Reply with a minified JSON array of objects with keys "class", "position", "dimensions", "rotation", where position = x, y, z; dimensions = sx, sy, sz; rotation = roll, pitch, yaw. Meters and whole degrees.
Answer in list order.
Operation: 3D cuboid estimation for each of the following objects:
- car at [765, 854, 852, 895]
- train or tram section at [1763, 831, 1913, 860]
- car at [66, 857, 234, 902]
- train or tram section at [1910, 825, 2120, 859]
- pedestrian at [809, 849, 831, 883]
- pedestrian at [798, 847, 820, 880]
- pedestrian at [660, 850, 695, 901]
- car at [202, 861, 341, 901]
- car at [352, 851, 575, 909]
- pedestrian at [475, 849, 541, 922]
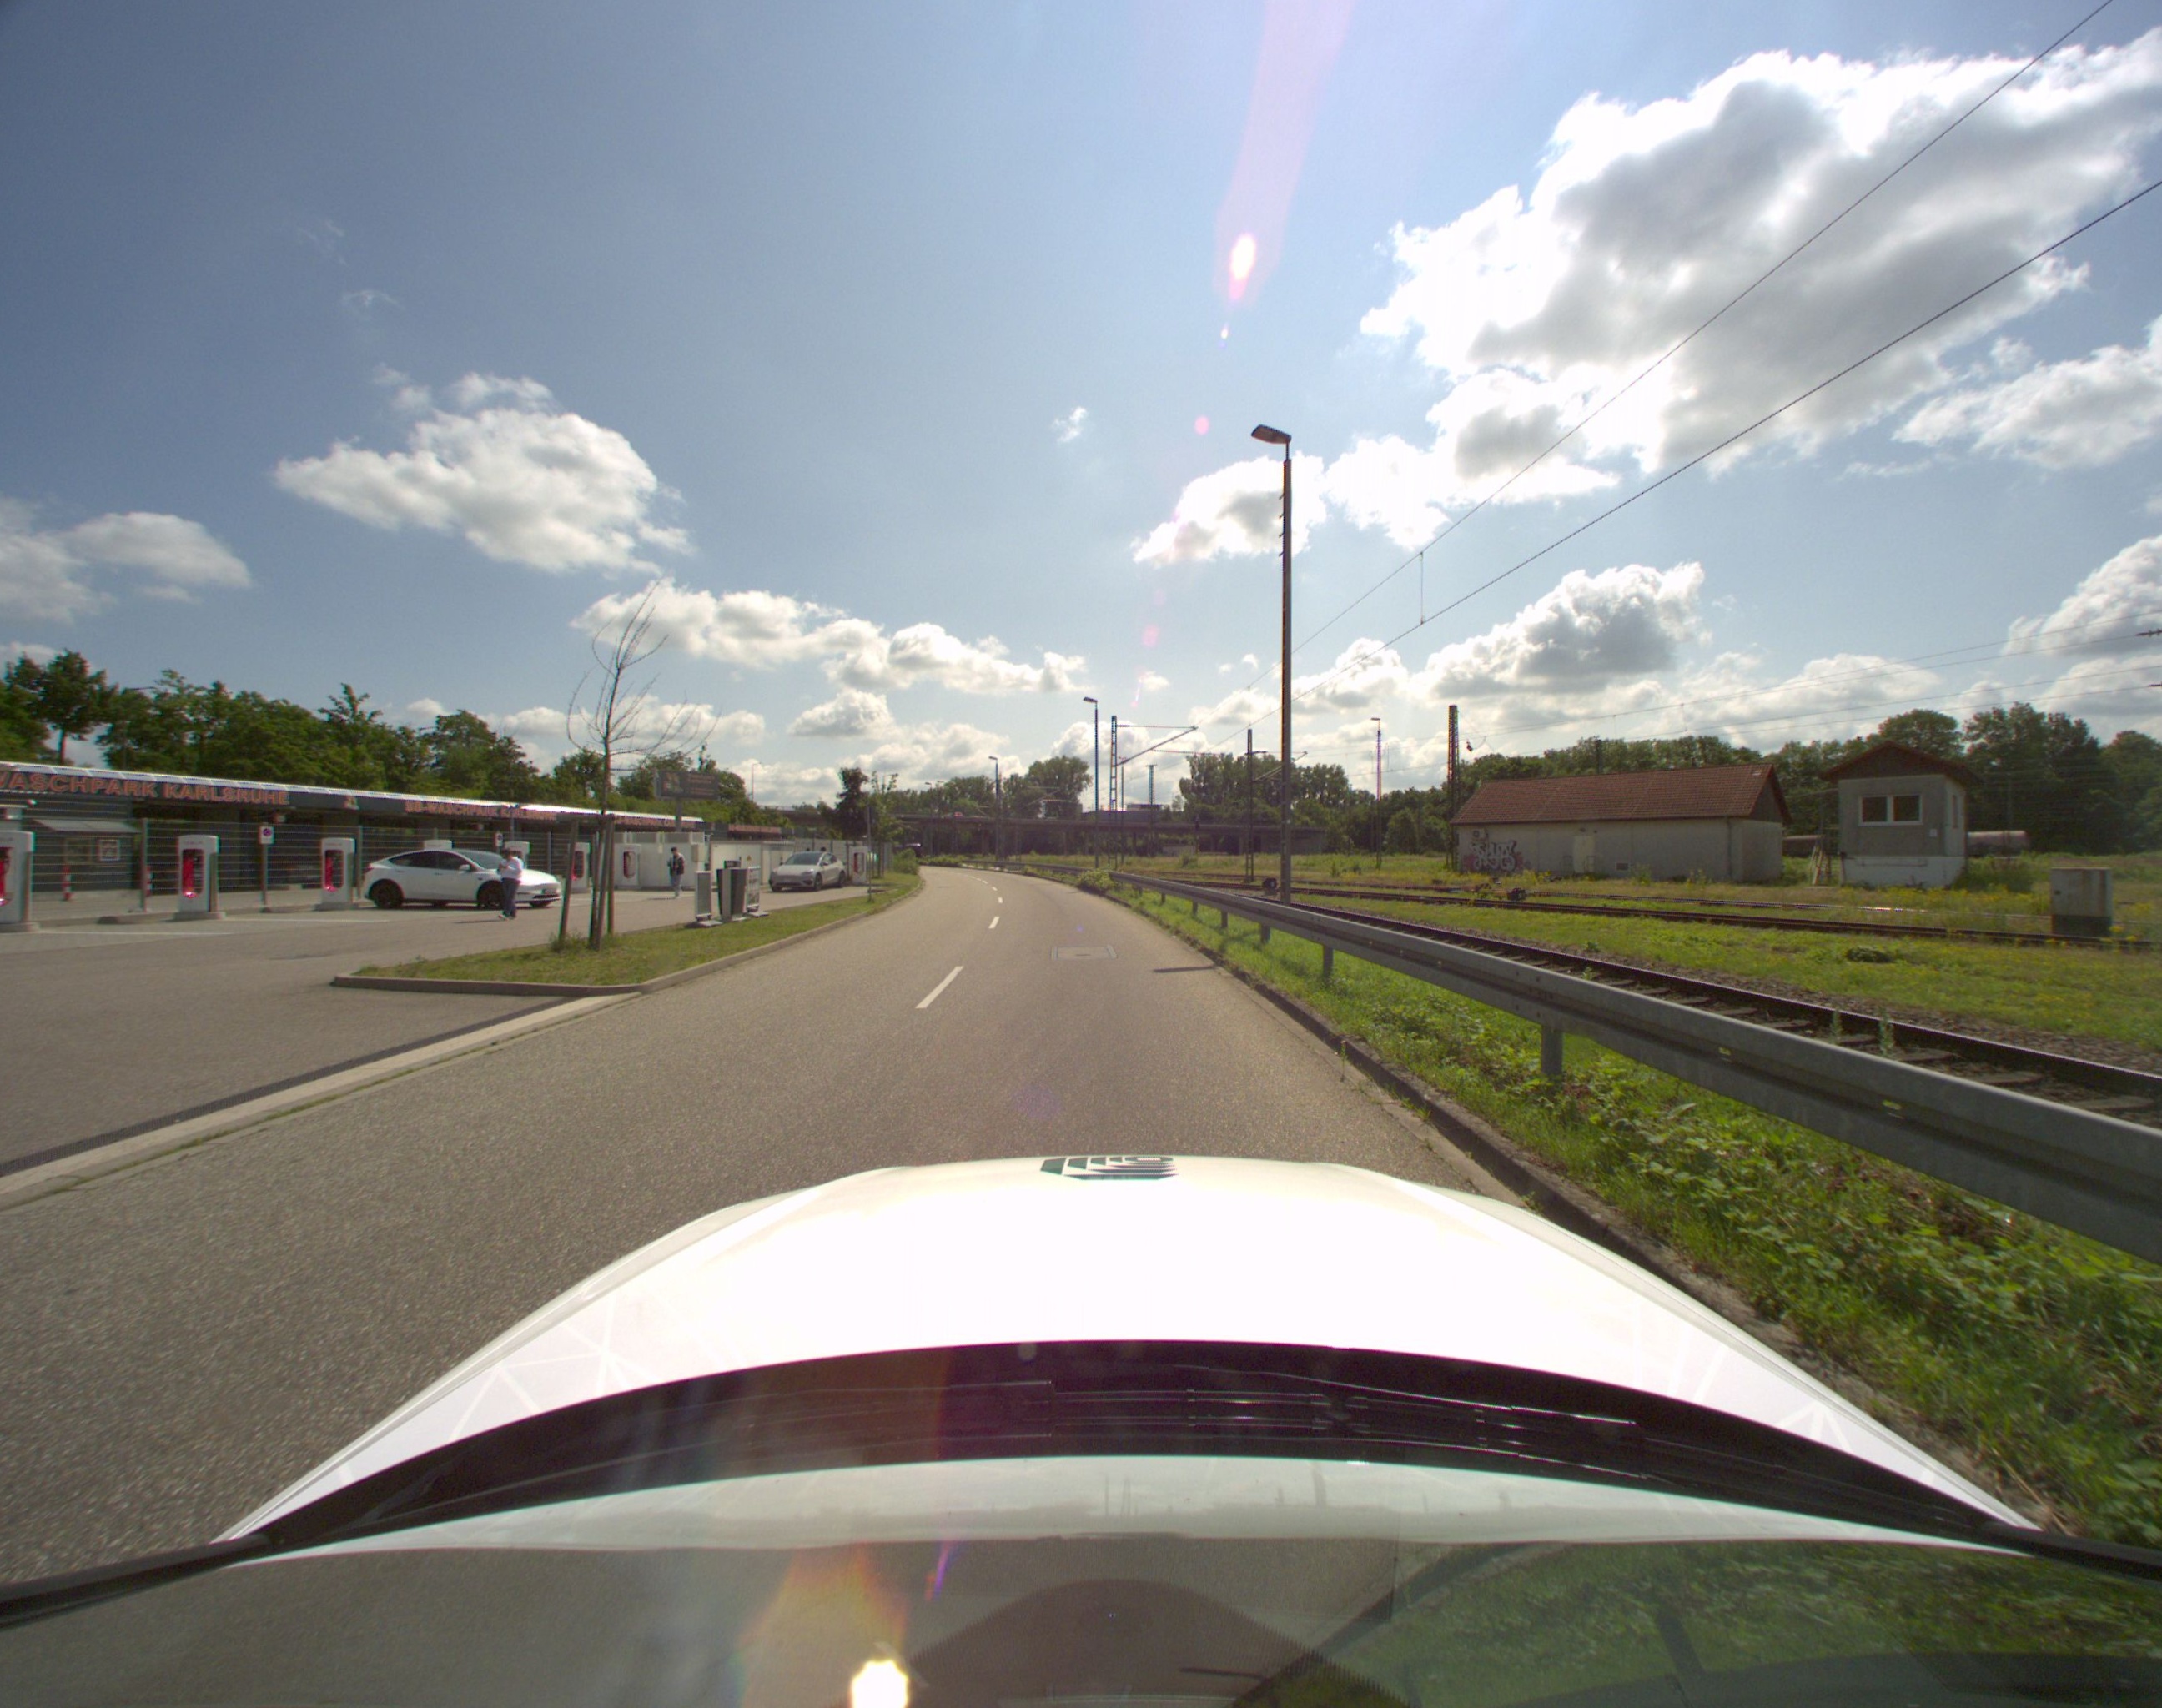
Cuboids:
[{"class":"car","position":[-11.603,0.813,35.032],"dimensions":[1.923,1.517,4.779],"rotation":[0,1,2]},{"class":"train or tram section","position":[96.667,-0.958,104.391],"dimensions":[3.049,3.305,13.777],"rotation":[0,-1,-39]},{"class":"car","position":[-34.371,0.923,30.148],"dimensions":[3.972,1.562,2.001],"rotation":[-1,-1,1]},{"class":"train or tram section","position":[105.892,-1.225,92.968],"dimensions":[3.049,3.305,15.576],"rotation":[0,-1,-39]},{"class":"pedestrian","position":[-12.380,0.569,38.661],"dimensions":[0.704,1.579,0.726],"rotation":[-2,-1,42]},{"class":"pedestrian","position":[-13.059,0.477,39.139],"dimensions":[0.749,1.565,0.718],"rotation":[-2,-1,42]},{"class":"pedestrian","position":[-14.005,0.731,28.286],"dimensions":[0.861,1.751,0.726],"rotation":[0,-1,-6]},{"class":"car","position":[-34.523,1.133,34.806],"dimensions":[3.972,1.562,2.001],"rotation":[-1,-1,1]},{"class":"car","position":[-16.885,0.703,22.450],"dimensions":[4.537,1.524,1.999],"rotation":[0,-1,-1]},{"class":"pedestrian","position":[-13.228,0.714,18.831],"dimensions":[0.859,1.653,0.940],"rotation":[0,0,-1]}]
